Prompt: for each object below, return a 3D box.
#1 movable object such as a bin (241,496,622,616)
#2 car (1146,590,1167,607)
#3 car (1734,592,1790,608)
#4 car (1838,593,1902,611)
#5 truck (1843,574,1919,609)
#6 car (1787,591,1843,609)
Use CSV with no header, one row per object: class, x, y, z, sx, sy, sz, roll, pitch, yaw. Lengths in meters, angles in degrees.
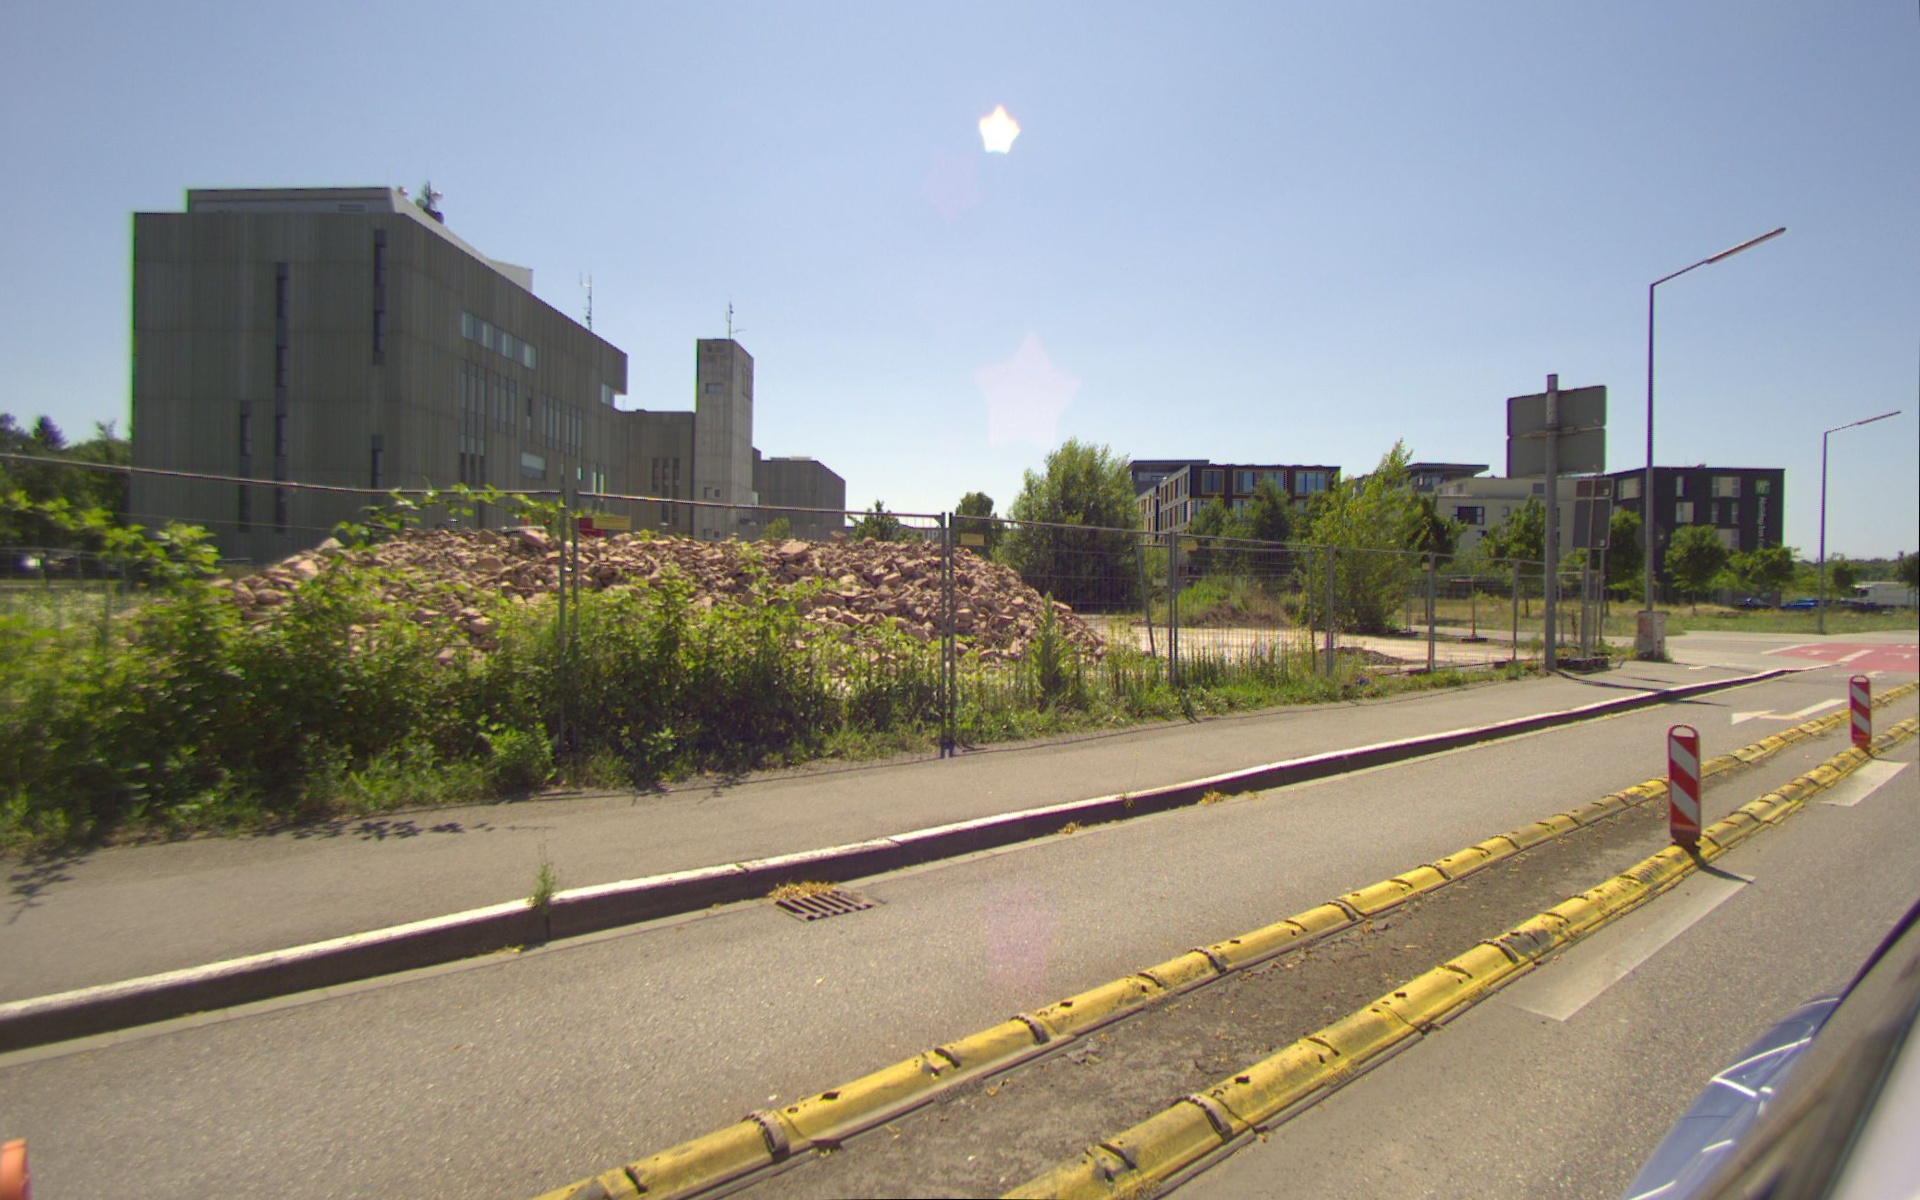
movable object such as a bin,-17.093,-1.285,33.292,10.288,3.301,4.947,0,1,-42
car,23.354,-0.162,120.442,1.924,1.953,3.489,0,-1,4
car,76.852,0.001,97.034,1.923,1.462,4.130,1,1,-4
car,86.286,0.166,96.040,1.994,1.581,4.508,1,1,1
truck,100.602,-0.887,106.615,11.920,3.504,3.017,1,2,4
car,81.744,-0.014,96.783,1.918,1.672,4.070,1,1,1
